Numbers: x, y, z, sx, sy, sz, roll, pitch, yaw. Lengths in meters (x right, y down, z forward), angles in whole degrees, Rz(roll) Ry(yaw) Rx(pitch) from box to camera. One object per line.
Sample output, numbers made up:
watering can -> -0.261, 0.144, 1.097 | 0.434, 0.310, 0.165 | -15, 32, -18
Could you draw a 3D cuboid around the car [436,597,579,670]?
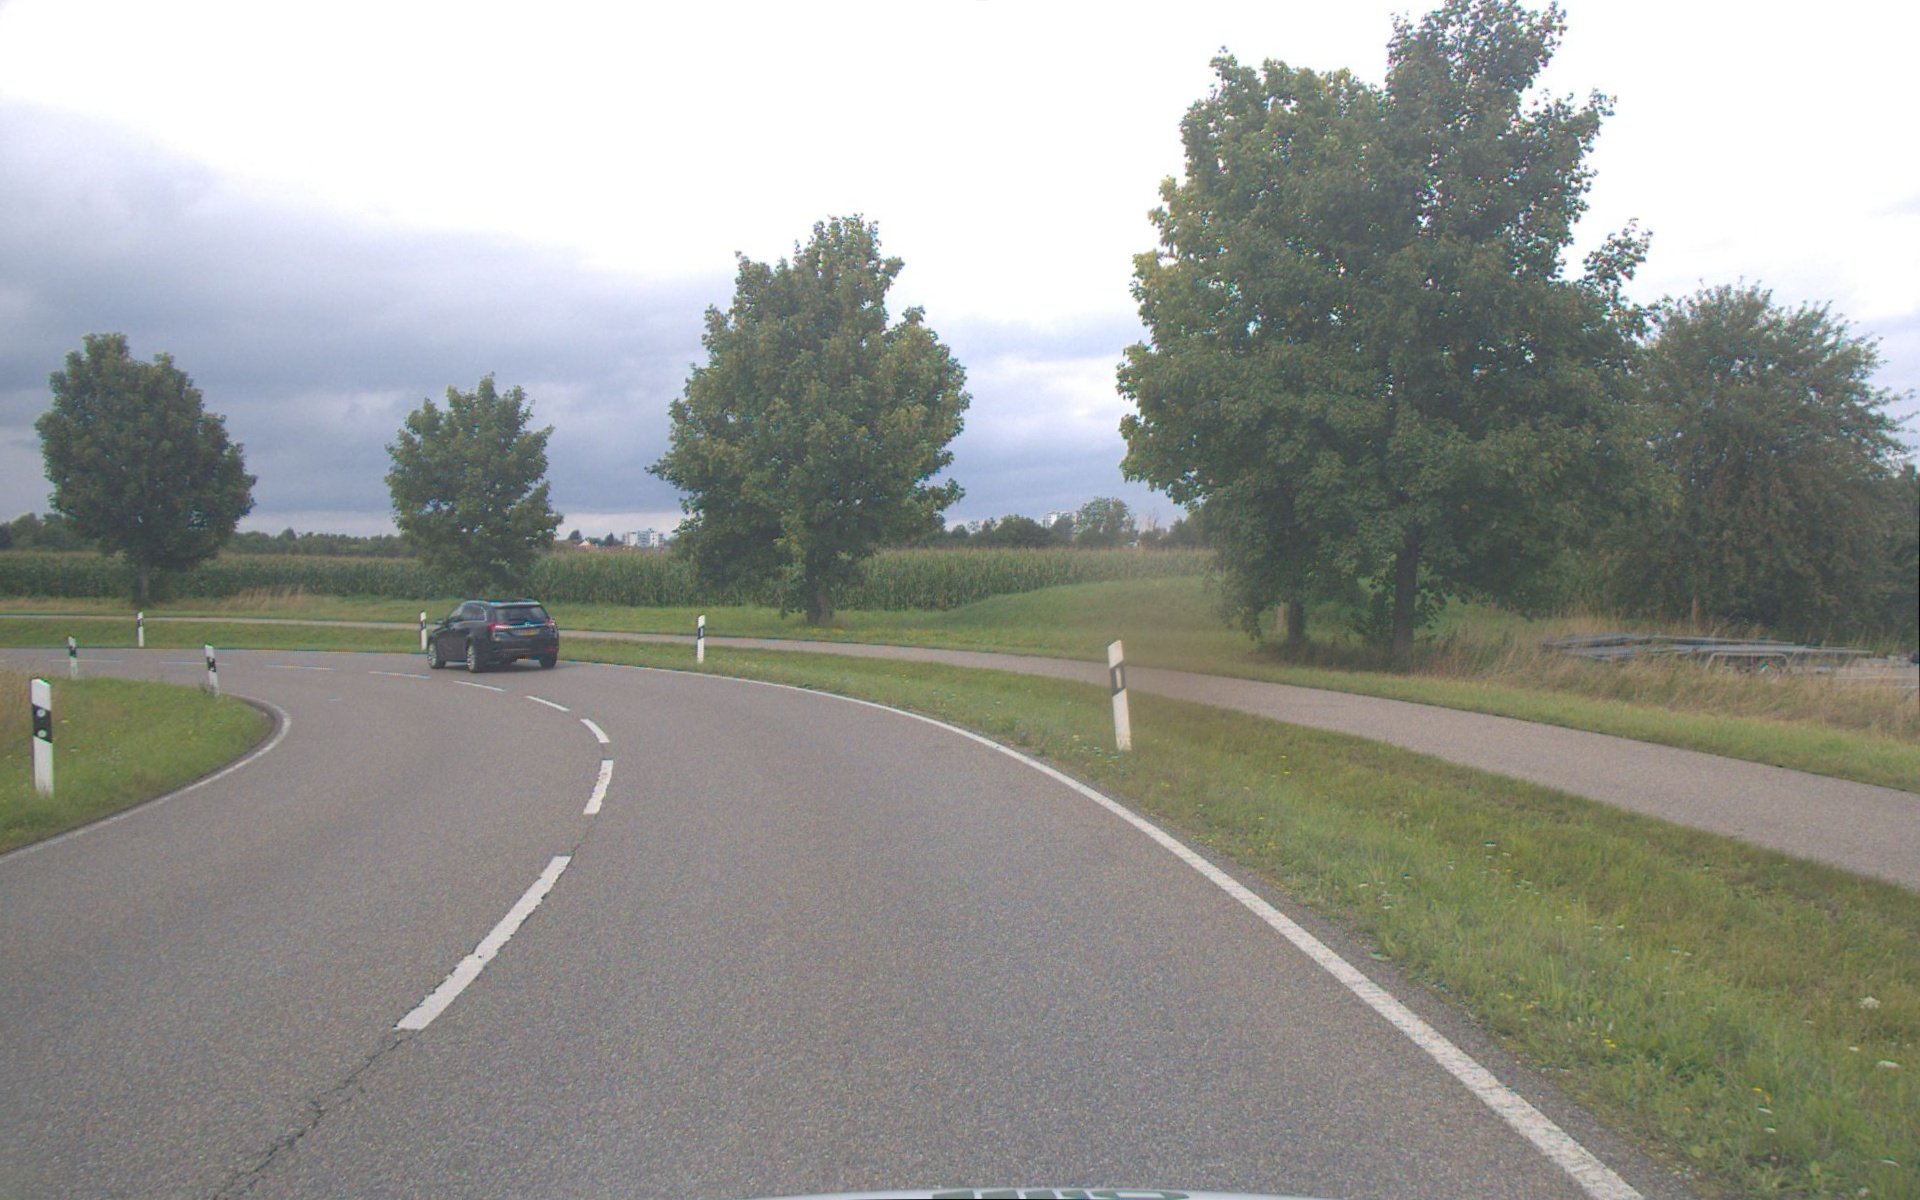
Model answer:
car -> -9.833, 0.675, 35.787 | 1.825, 1.442, 3.952 | 0, 1, -34
